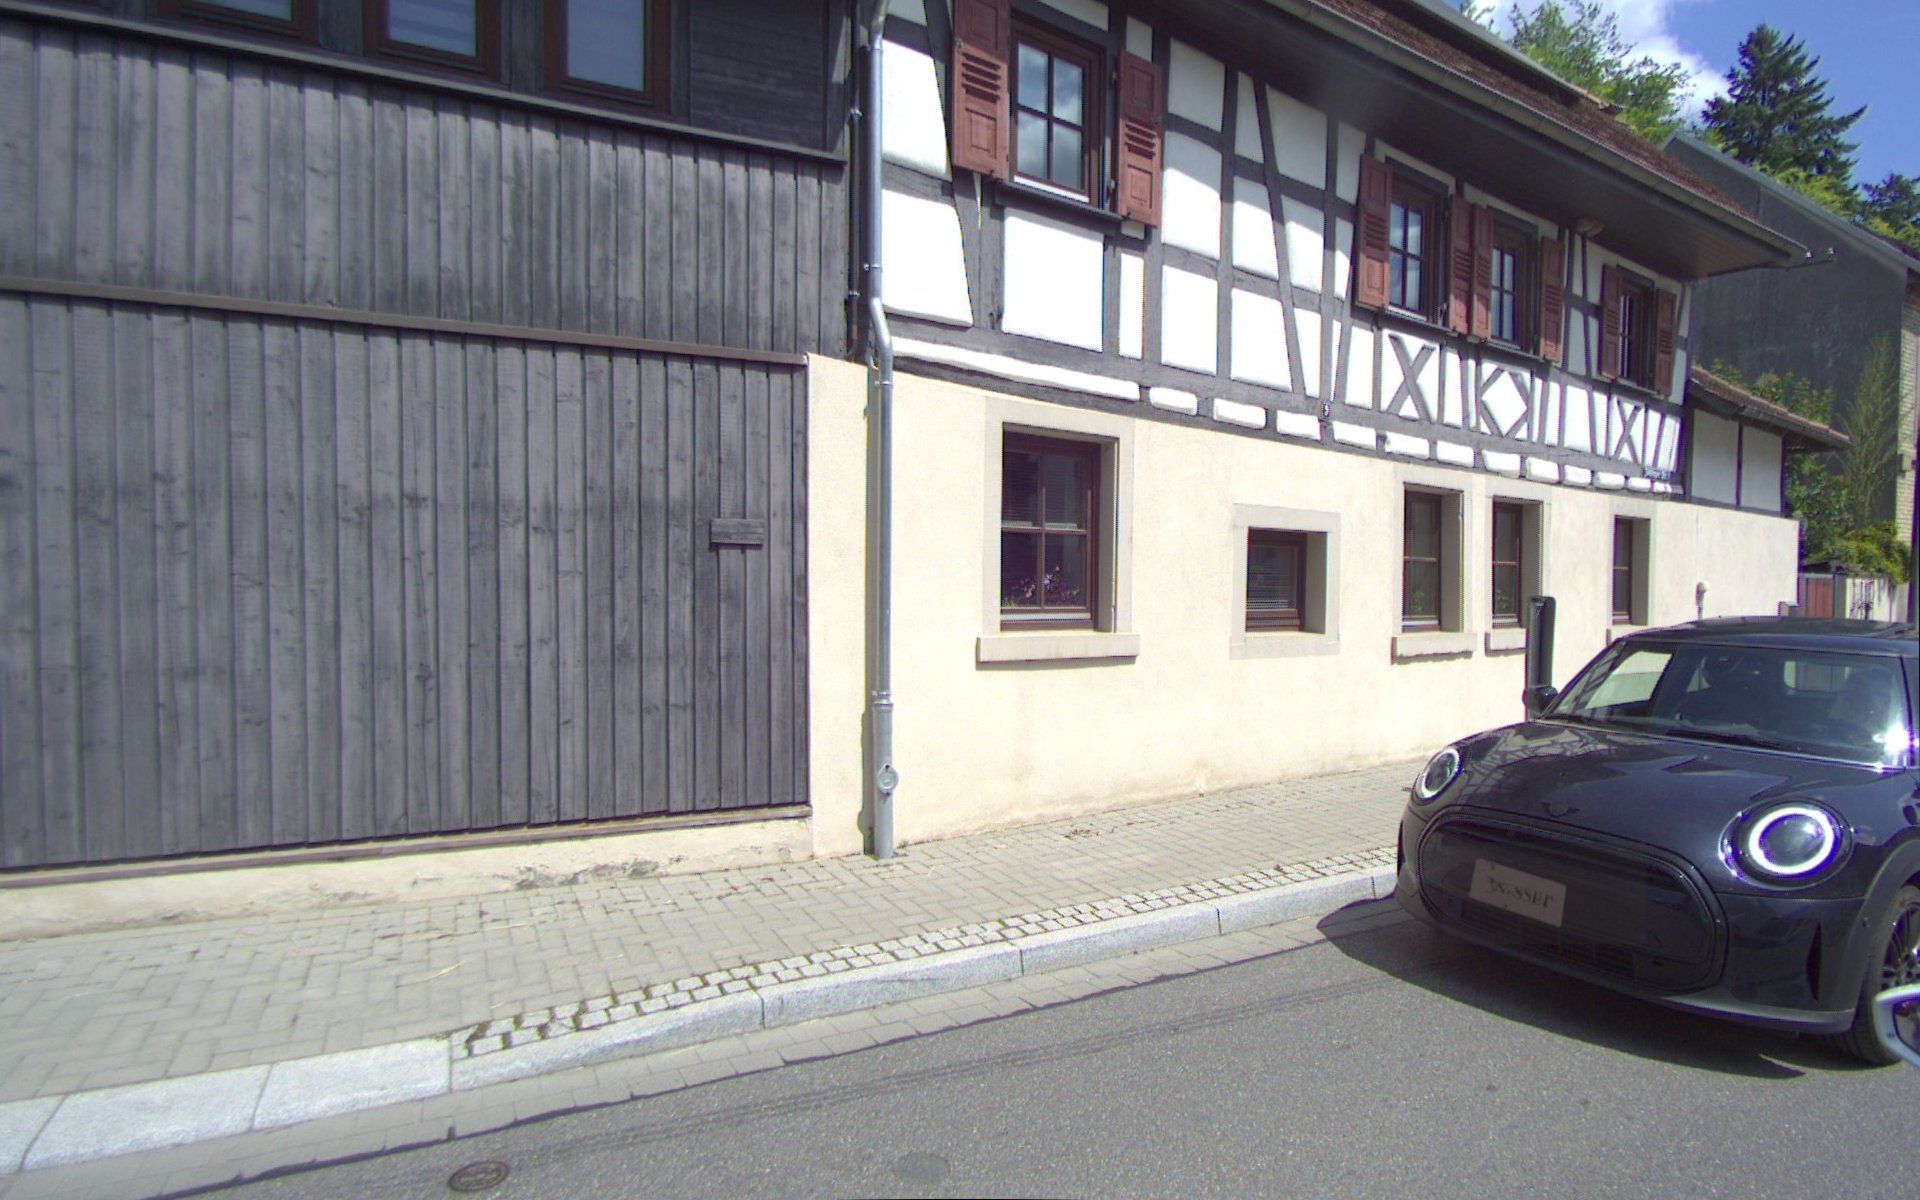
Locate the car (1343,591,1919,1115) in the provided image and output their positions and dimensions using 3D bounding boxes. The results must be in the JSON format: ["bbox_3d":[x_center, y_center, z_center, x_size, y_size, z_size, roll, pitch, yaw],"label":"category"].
[{"bbox_3d":[3.936,0.758,4.770,4.387,1.485,1.689,1,0,-33],"label":"car"}]
